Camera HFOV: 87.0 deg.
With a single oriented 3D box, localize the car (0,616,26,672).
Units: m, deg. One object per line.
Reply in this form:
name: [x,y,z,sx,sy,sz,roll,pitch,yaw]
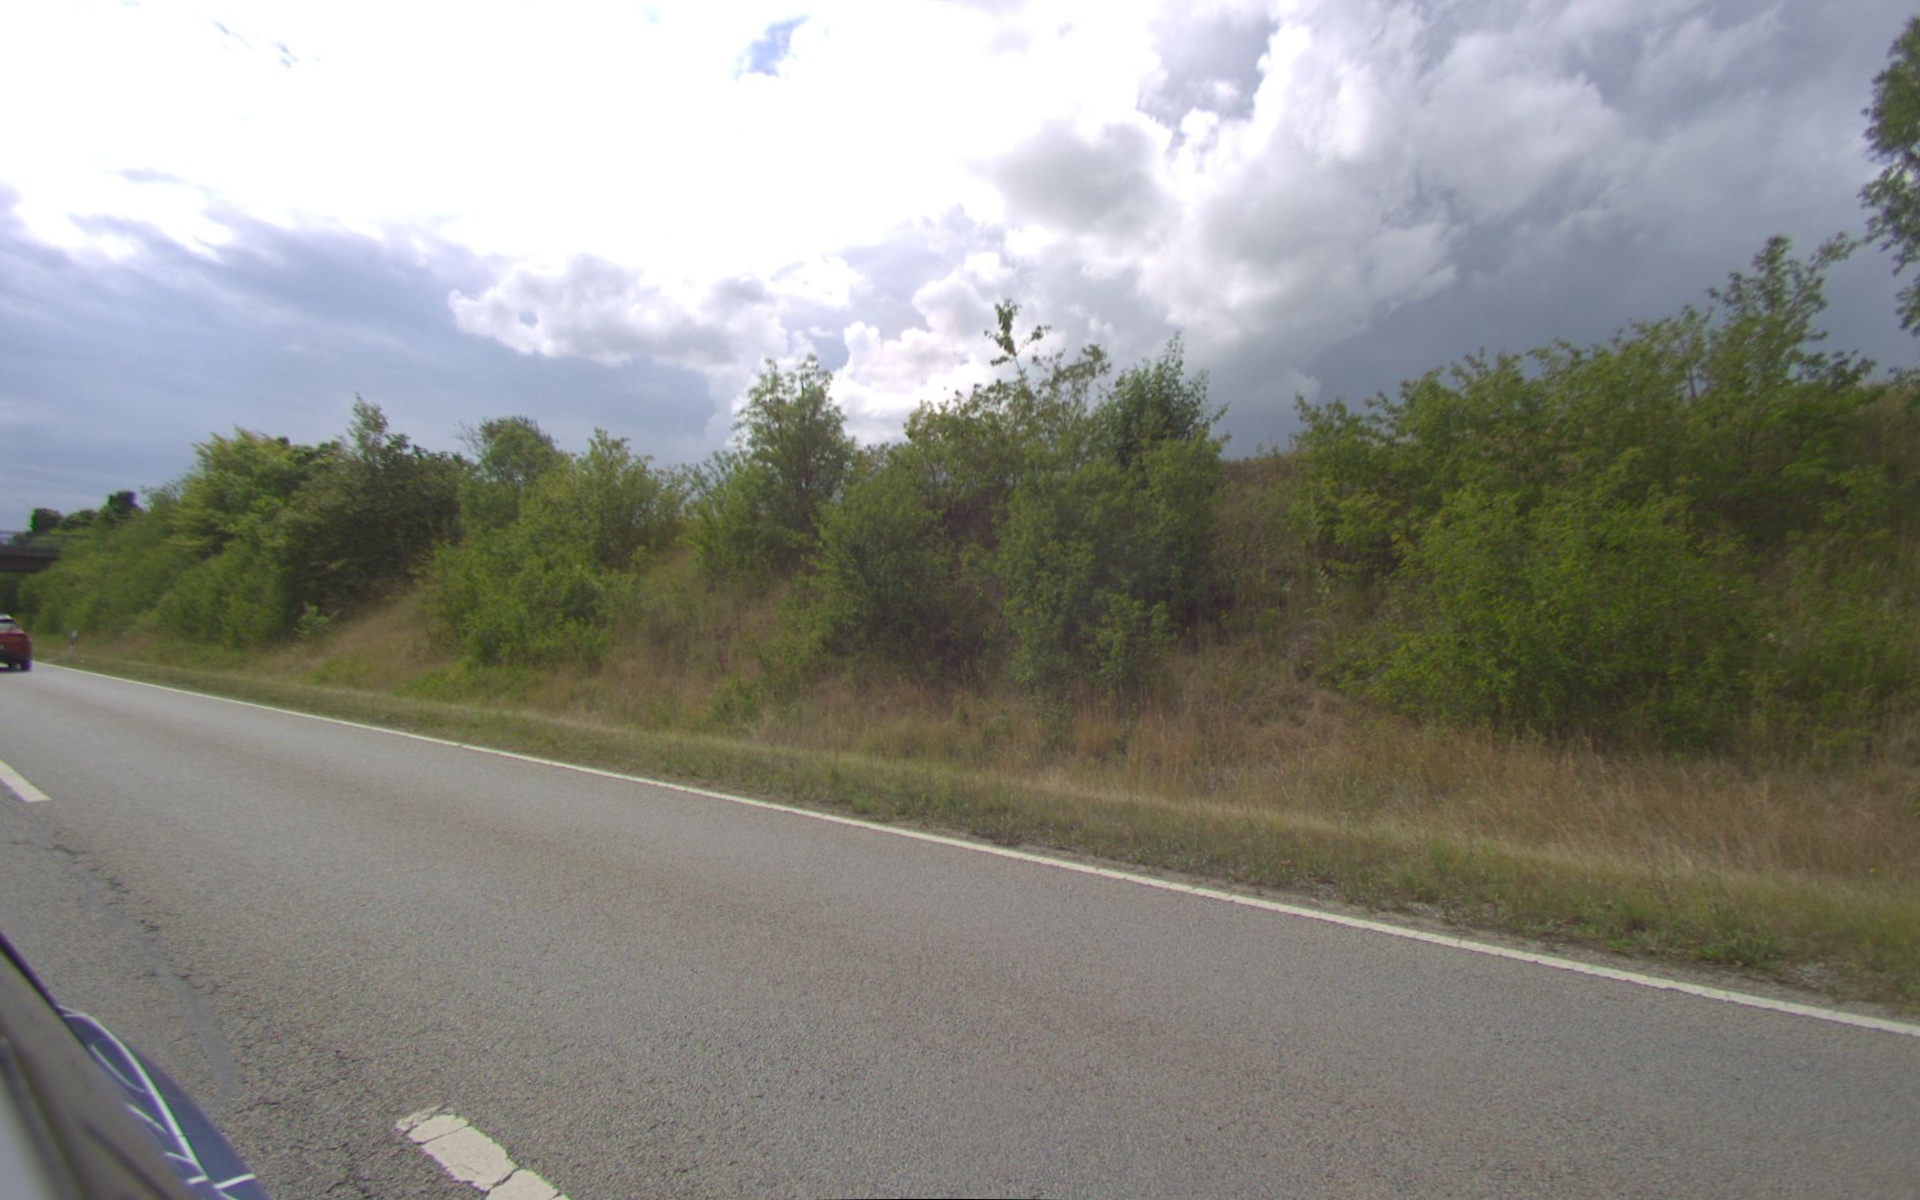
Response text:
car: [-27.342,1.215,27.961,4.409,1.476,1.810,-1,-1,41]
